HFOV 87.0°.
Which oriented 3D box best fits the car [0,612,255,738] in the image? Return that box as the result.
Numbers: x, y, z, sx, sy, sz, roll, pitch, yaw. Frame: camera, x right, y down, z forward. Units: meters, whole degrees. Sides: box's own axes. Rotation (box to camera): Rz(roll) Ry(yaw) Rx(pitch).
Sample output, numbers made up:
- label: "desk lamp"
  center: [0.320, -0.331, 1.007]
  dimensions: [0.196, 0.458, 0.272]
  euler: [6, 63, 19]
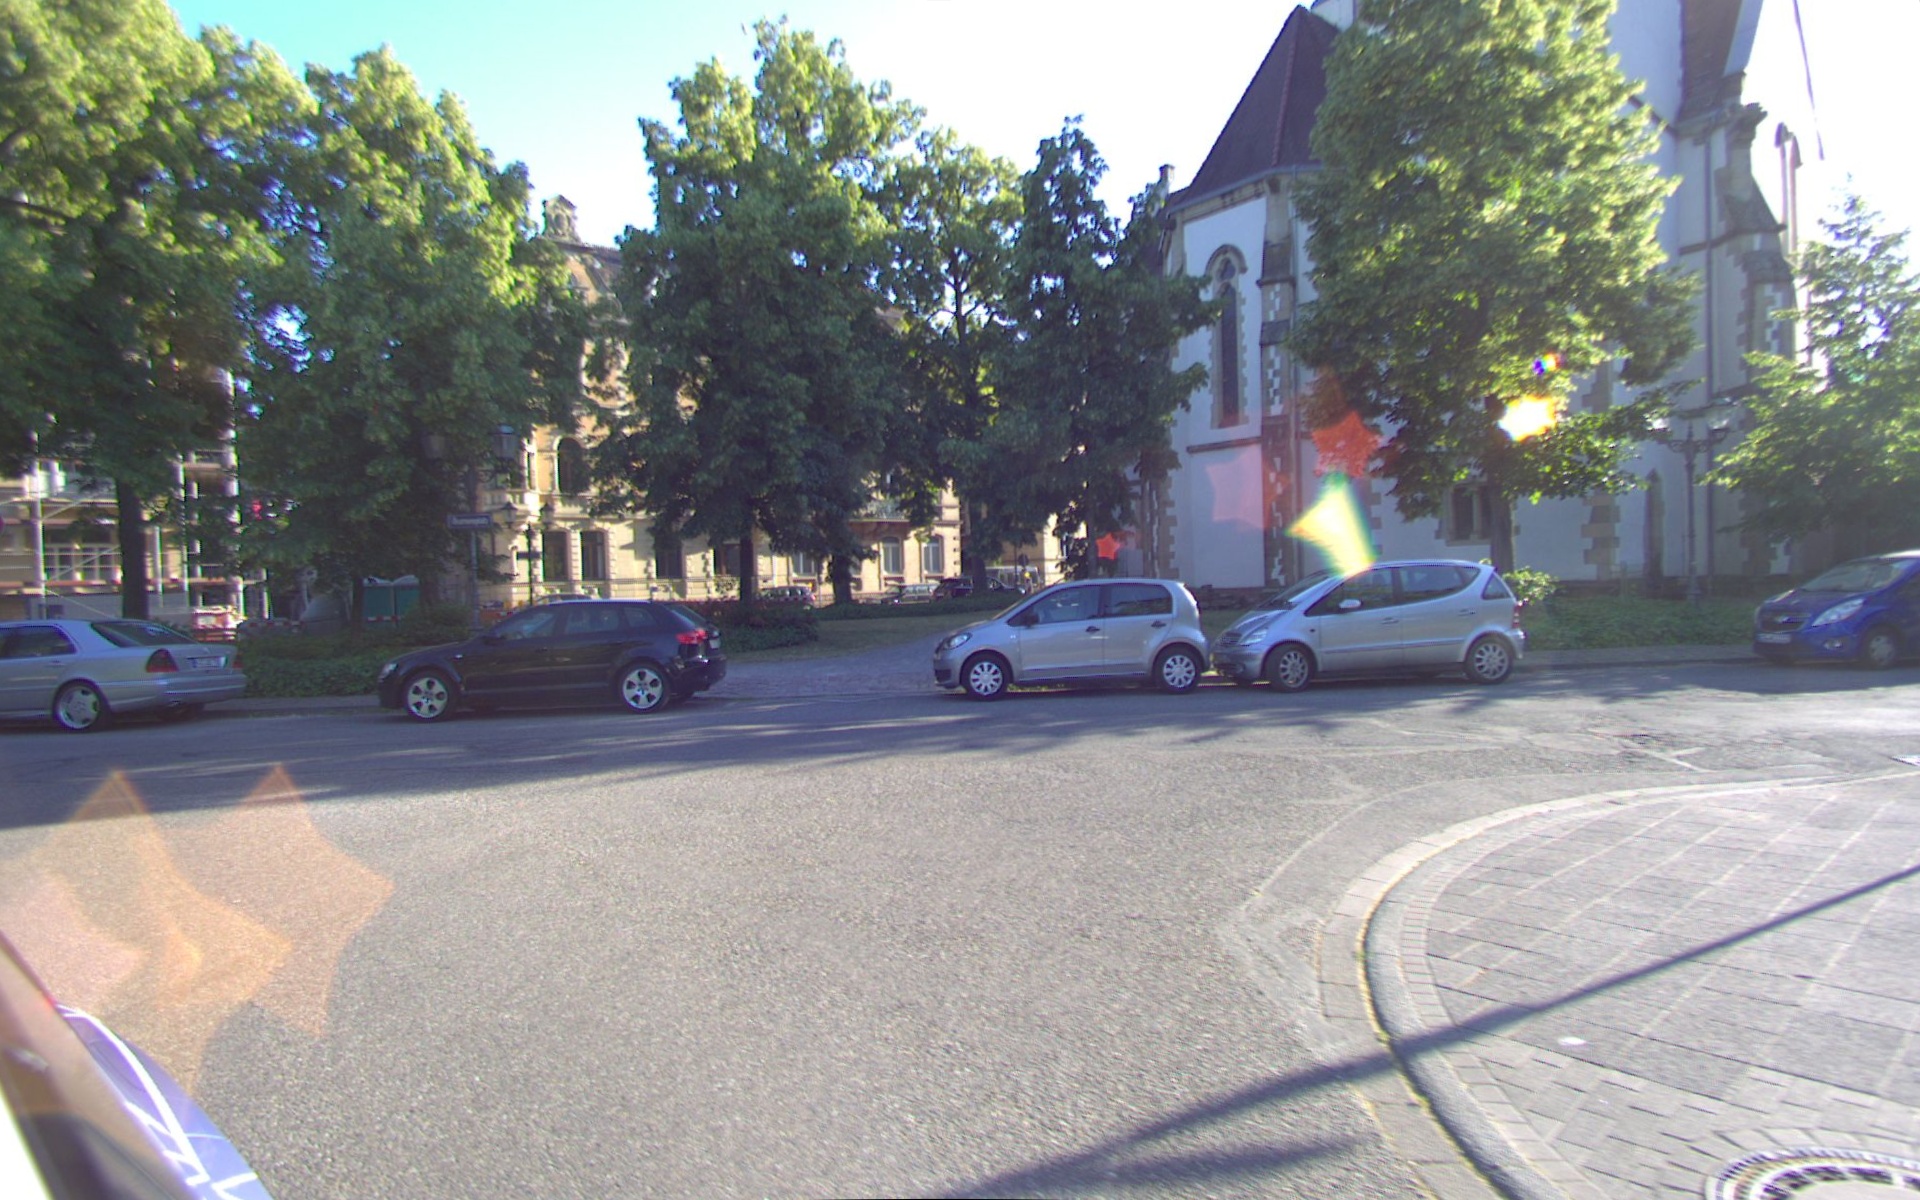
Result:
- label: "car"
  center: [-11.839, 0.966, 12.942]
  dimensions: [4.436, 1.426, 1.785]
  euler: [-2, -1, 1]

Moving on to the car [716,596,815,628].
- label: "car"
  center: [-9.174, 0.557, 47.925]
  dimensions: [4.154, 1.287, 1.916]
  euler: [-3, 1, -39]

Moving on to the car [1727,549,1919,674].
- label: "car"
  center: [12.609, 0.084, 13.438]
  dimensions: [3.641, 1.512, 1.623]
  euler: [-2, 1, -4]

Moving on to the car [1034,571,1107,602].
- label: "car"
  center: [6.638, -0.825, 60.586]
  dimensions: [4.154, 1.668, 2.004]
  euler: [-3, 1, -39]

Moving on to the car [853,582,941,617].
- label: "car"
  center: [-3.270, -0.034, 52.740]
  dimensions: [4.154, 1.668, 2.004]
  euler: [-3, 1, -39]

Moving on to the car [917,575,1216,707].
- label: "car"
  center: [1.260, 0.500, 13.000]
  dimensions: [3.553, 1.451, 1.618]
  euler: [-2, -1, -2]

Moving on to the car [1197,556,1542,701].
- label: "car"
  center: [5.113, 0.318, 12.944]
  dimensions: [3.641, 1.591, 1.712]
  euler: [-2, 1, -4]

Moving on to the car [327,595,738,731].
- label: "car"
  center: [-5.219, 0.759, 12.833]
  dimensions: [4.429, 1.426, 1.831]
  euler: [-2, -1, -2]

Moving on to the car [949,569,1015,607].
- label: "car"
  center: [1.357, -0.746, 63.997]
  dimensions: [1.862, 2.278, 4.228]
  euler: [-2, 1, -40]

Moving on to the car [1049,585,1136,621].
- label: "car"
  center: [6.773, 0.160, 51.725]
  dimensions: [4.150, 1.668, 1.897]
  euler: [-2, 1, -33]

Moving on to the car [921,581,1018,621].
- label: "car"
  center: [0.470, 0.049, 46.318]
  dimensions: [4.154, 1.668, 1.895]
  euler: [-2, 1, -40]
